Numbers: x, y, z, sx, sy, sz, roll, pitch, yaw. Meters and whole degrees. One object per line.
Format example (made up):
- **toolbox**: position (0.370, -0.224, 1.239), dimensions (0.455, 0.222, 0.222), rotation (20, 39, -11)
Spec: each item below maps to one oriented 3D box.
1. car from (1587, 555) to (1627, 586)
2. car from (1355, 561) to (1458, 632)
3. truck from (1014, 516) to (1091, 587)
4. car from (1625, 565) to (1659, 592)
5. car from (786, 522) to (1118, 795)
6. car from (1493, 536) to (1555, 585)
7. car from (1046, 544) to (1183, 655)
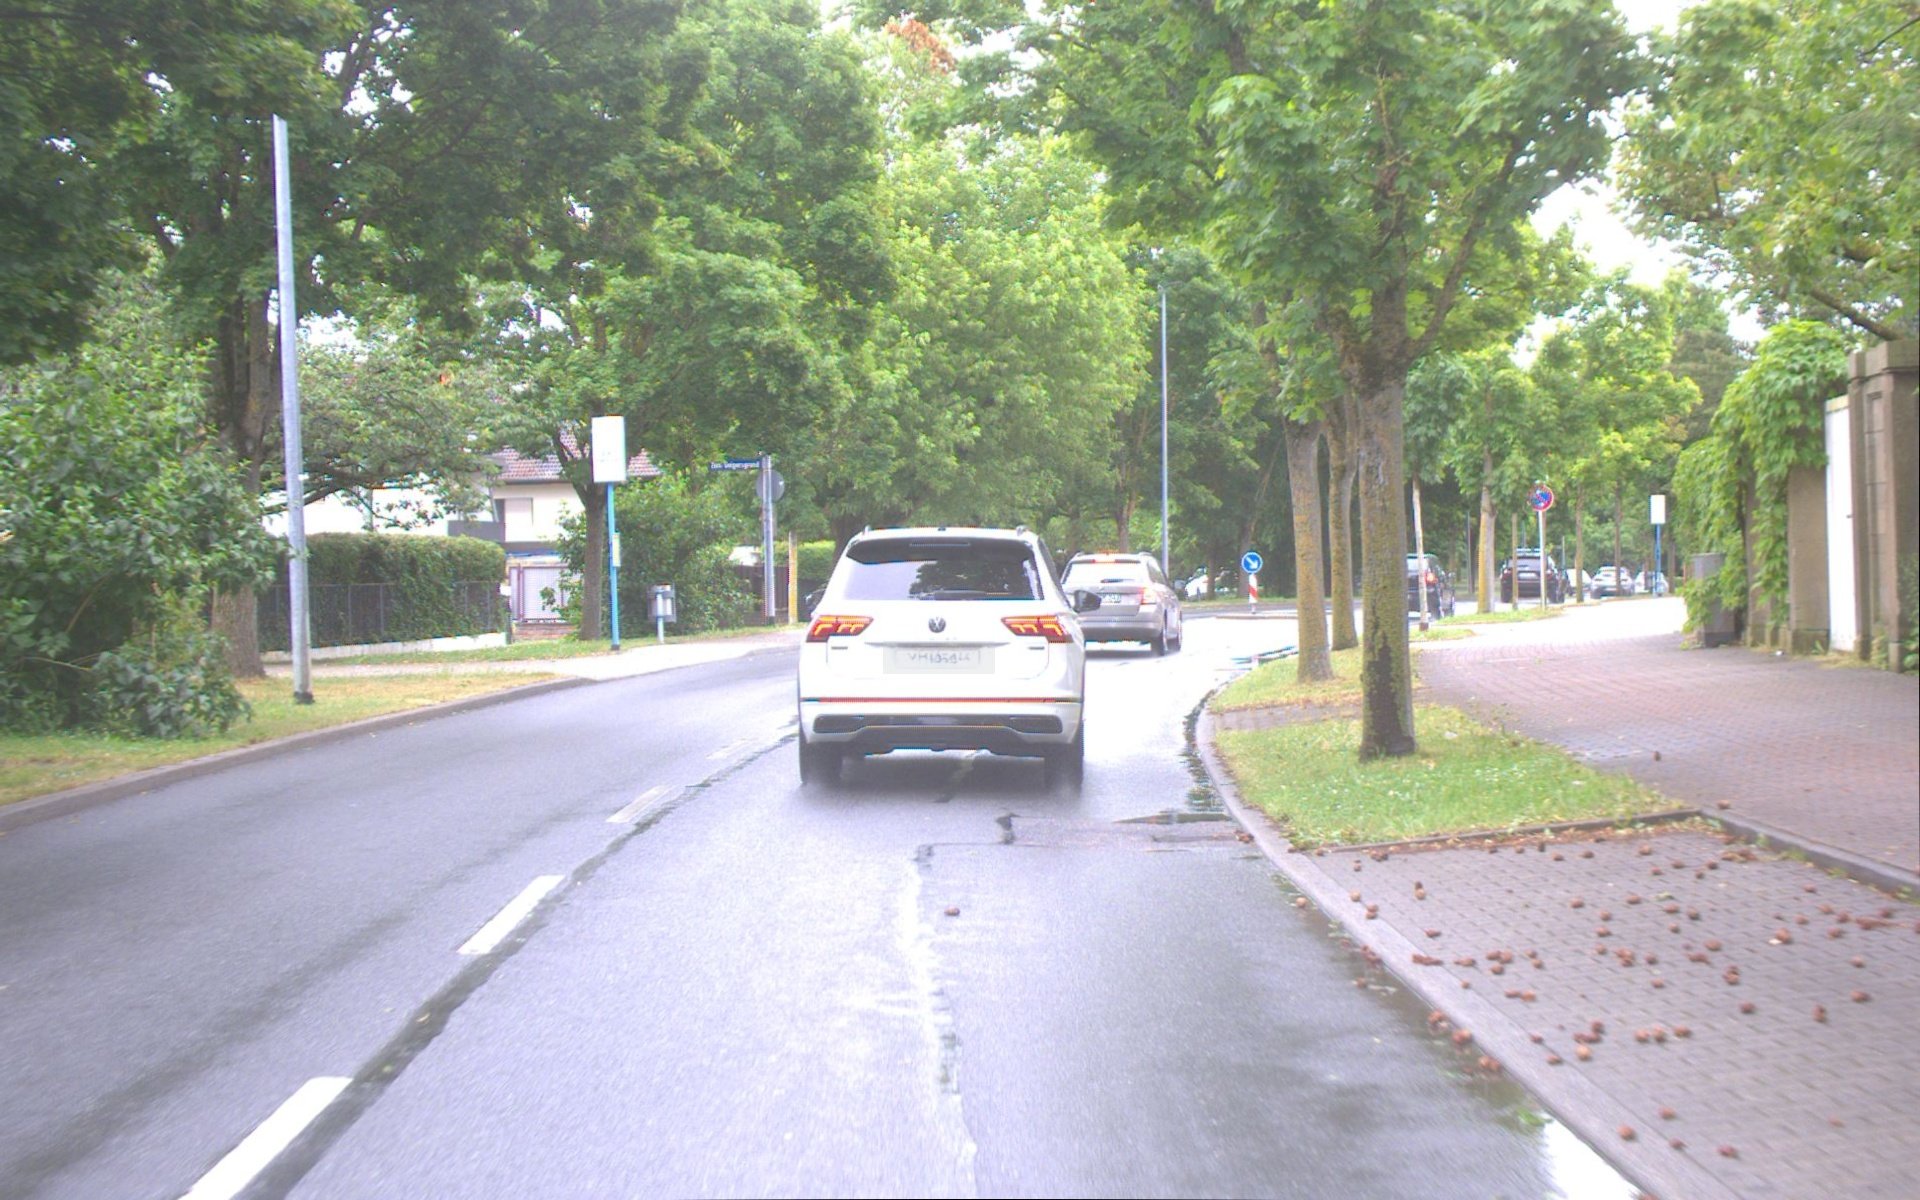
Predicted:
- **car**: position (29.087, -1.334, 154.562), dimensions (1.638, 1.322, 3.998), rotation (1, 1, 12)
- **car**: position (10.108, -0.101, 77.647), dimensions (1.842, 1.482, 3.998), rotation (2, 1, 14)
- **truck**: position (3.596, -1.840, 132.364), dimensions (2.285, 2.588, 5.872), rotation (-1, 0, 8)
- **car**: position (35.730, -1.139, 180.037), dimensions (1.638, 1.322, 3.998), rotation (1, 1, 12)
- **car**: position (-0.047, 0.322, 22.994), dimensions (1.997, 1.626, 4.000), rotation (1, 1, 0)
- **car**: position (18.240, -1.256, 111.265), dimensions (1.841, 1.482, 3.999), rotation (-3, 0, 8)
- **car**: position (2.299, -0.014, 50.419), dimensions (1.841, 1.482, 3.999), rotation (-3, 0, 4)
